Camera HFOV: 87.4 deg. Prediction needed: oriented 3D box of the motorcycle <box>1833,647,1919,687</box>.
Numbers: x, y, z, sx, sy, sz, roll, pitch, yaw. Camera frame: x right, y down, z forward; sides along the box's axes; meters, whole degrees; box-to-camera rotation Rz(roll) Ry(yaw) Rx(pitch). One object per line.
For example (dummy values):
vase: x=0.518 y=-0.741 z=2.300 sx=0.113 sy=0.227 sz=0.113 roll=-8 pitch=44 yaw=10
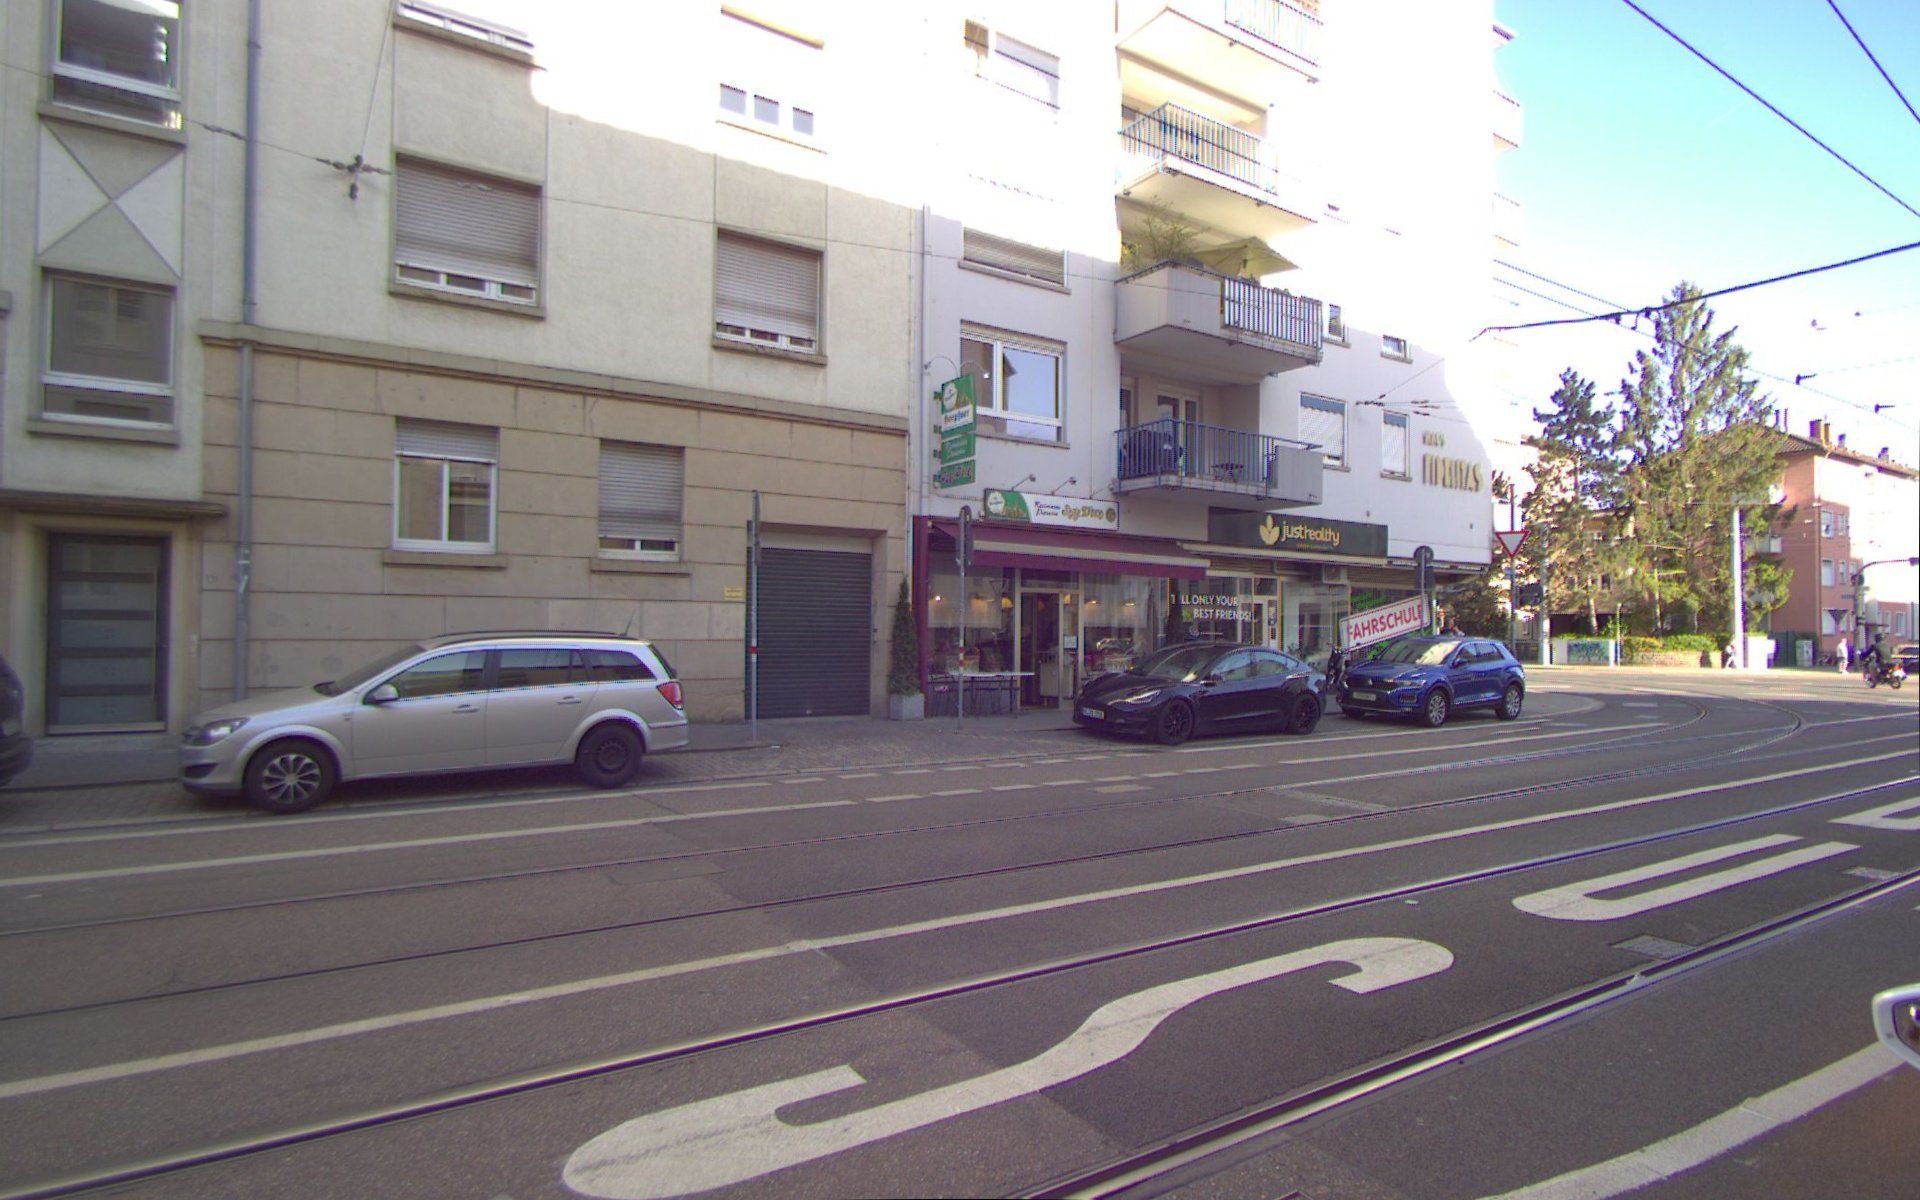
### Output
motorcycle: x=28.138 y=2.039 z=30.806 sx=0.843 sy=1.060 sz=1.937 roll=2 pitch=0 yaw=-12

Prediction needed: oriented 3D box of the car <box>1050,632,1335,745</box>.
car: x=3.696 y=1.306 z=15.718 sx=4.397 sy=1.494 sz=1.759 roll=2 pitch=0 yaw=-32

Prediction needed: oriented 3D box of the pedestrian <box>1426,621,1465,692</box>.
pedestrian: x=13.552 y=1.565 z=28.042 sx=0.727 sy=1.925 sz=0.573 roll=3 pitch=-2 yaw=-15

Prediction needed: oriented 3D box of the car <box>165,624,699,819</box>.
car: x=-4.988 y=1.055 z=9.935 sx=4.326 sy=1.474 sz=1.714 roll=2 pitch=0 yaw=-34

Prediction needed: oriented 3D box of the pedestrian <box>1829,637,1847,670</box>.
pedestrian: x=42.771 y=2.610 z=48.934 sx=0.567 sy=1.589 sz=0.513 roll=2 pitch=0 yaw=-32

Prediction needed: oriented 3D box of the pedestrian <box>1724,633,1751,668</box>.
pedestrian: x=39.249 y=2.544 z=50.703 sx=0.769 sy=1.744 sz=0.704 roll=2 pitch=0 yaw=-6

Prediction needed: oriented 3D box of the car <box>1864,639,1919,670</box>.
car: x=49.829 y=2.916 z=53.022 sx=4.396 sy=1.450 sz=2.140 roll=4 pitch=-2 yaw=-34

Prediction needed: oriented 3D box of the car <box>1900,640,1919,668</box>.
car: x=54.357 y=3.042 z=55.964 sx=4.056 sy=1.455 sz=1.894 roll=2 pitch=0 yaw=-31

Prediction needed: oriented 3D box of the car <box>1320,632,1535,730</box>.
car: x=8.744 y=1.406 z=18.670 sx=4.195 sy=1.524 sz=1.757 roll=1 pitch=1 yaw=-35

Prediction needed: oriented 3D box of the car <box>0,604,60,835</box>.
car: x=-9.341 y=0.833 z=7.017 sx=4.281 sy=1.655 sz=1.803 roll=2 pitch=0 yaw=-34

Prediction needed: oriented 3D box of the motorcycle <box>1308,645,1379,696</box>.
motorcycle: x=8.986 y=1.640 z=23.538 sx=1.778 sy=1.149 sz=0.603 roll=2 pitch=0 yaw=-33

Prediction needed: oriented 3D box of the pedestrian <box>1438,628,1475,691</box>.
pedestrian: x=14.561 y=1.722 z=29.491 sx=0.653 sy=1.816 sz=0.733 roll=1 pitch=-1 yaw=-26

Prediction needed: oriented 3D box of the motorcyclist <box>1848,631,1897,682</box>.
motorcyclist: x=28.115 y=1.727 z=30.957 sx=0.843 sy=1.508 sz=0.727 roll=2 pitch=0 yaw=-13
